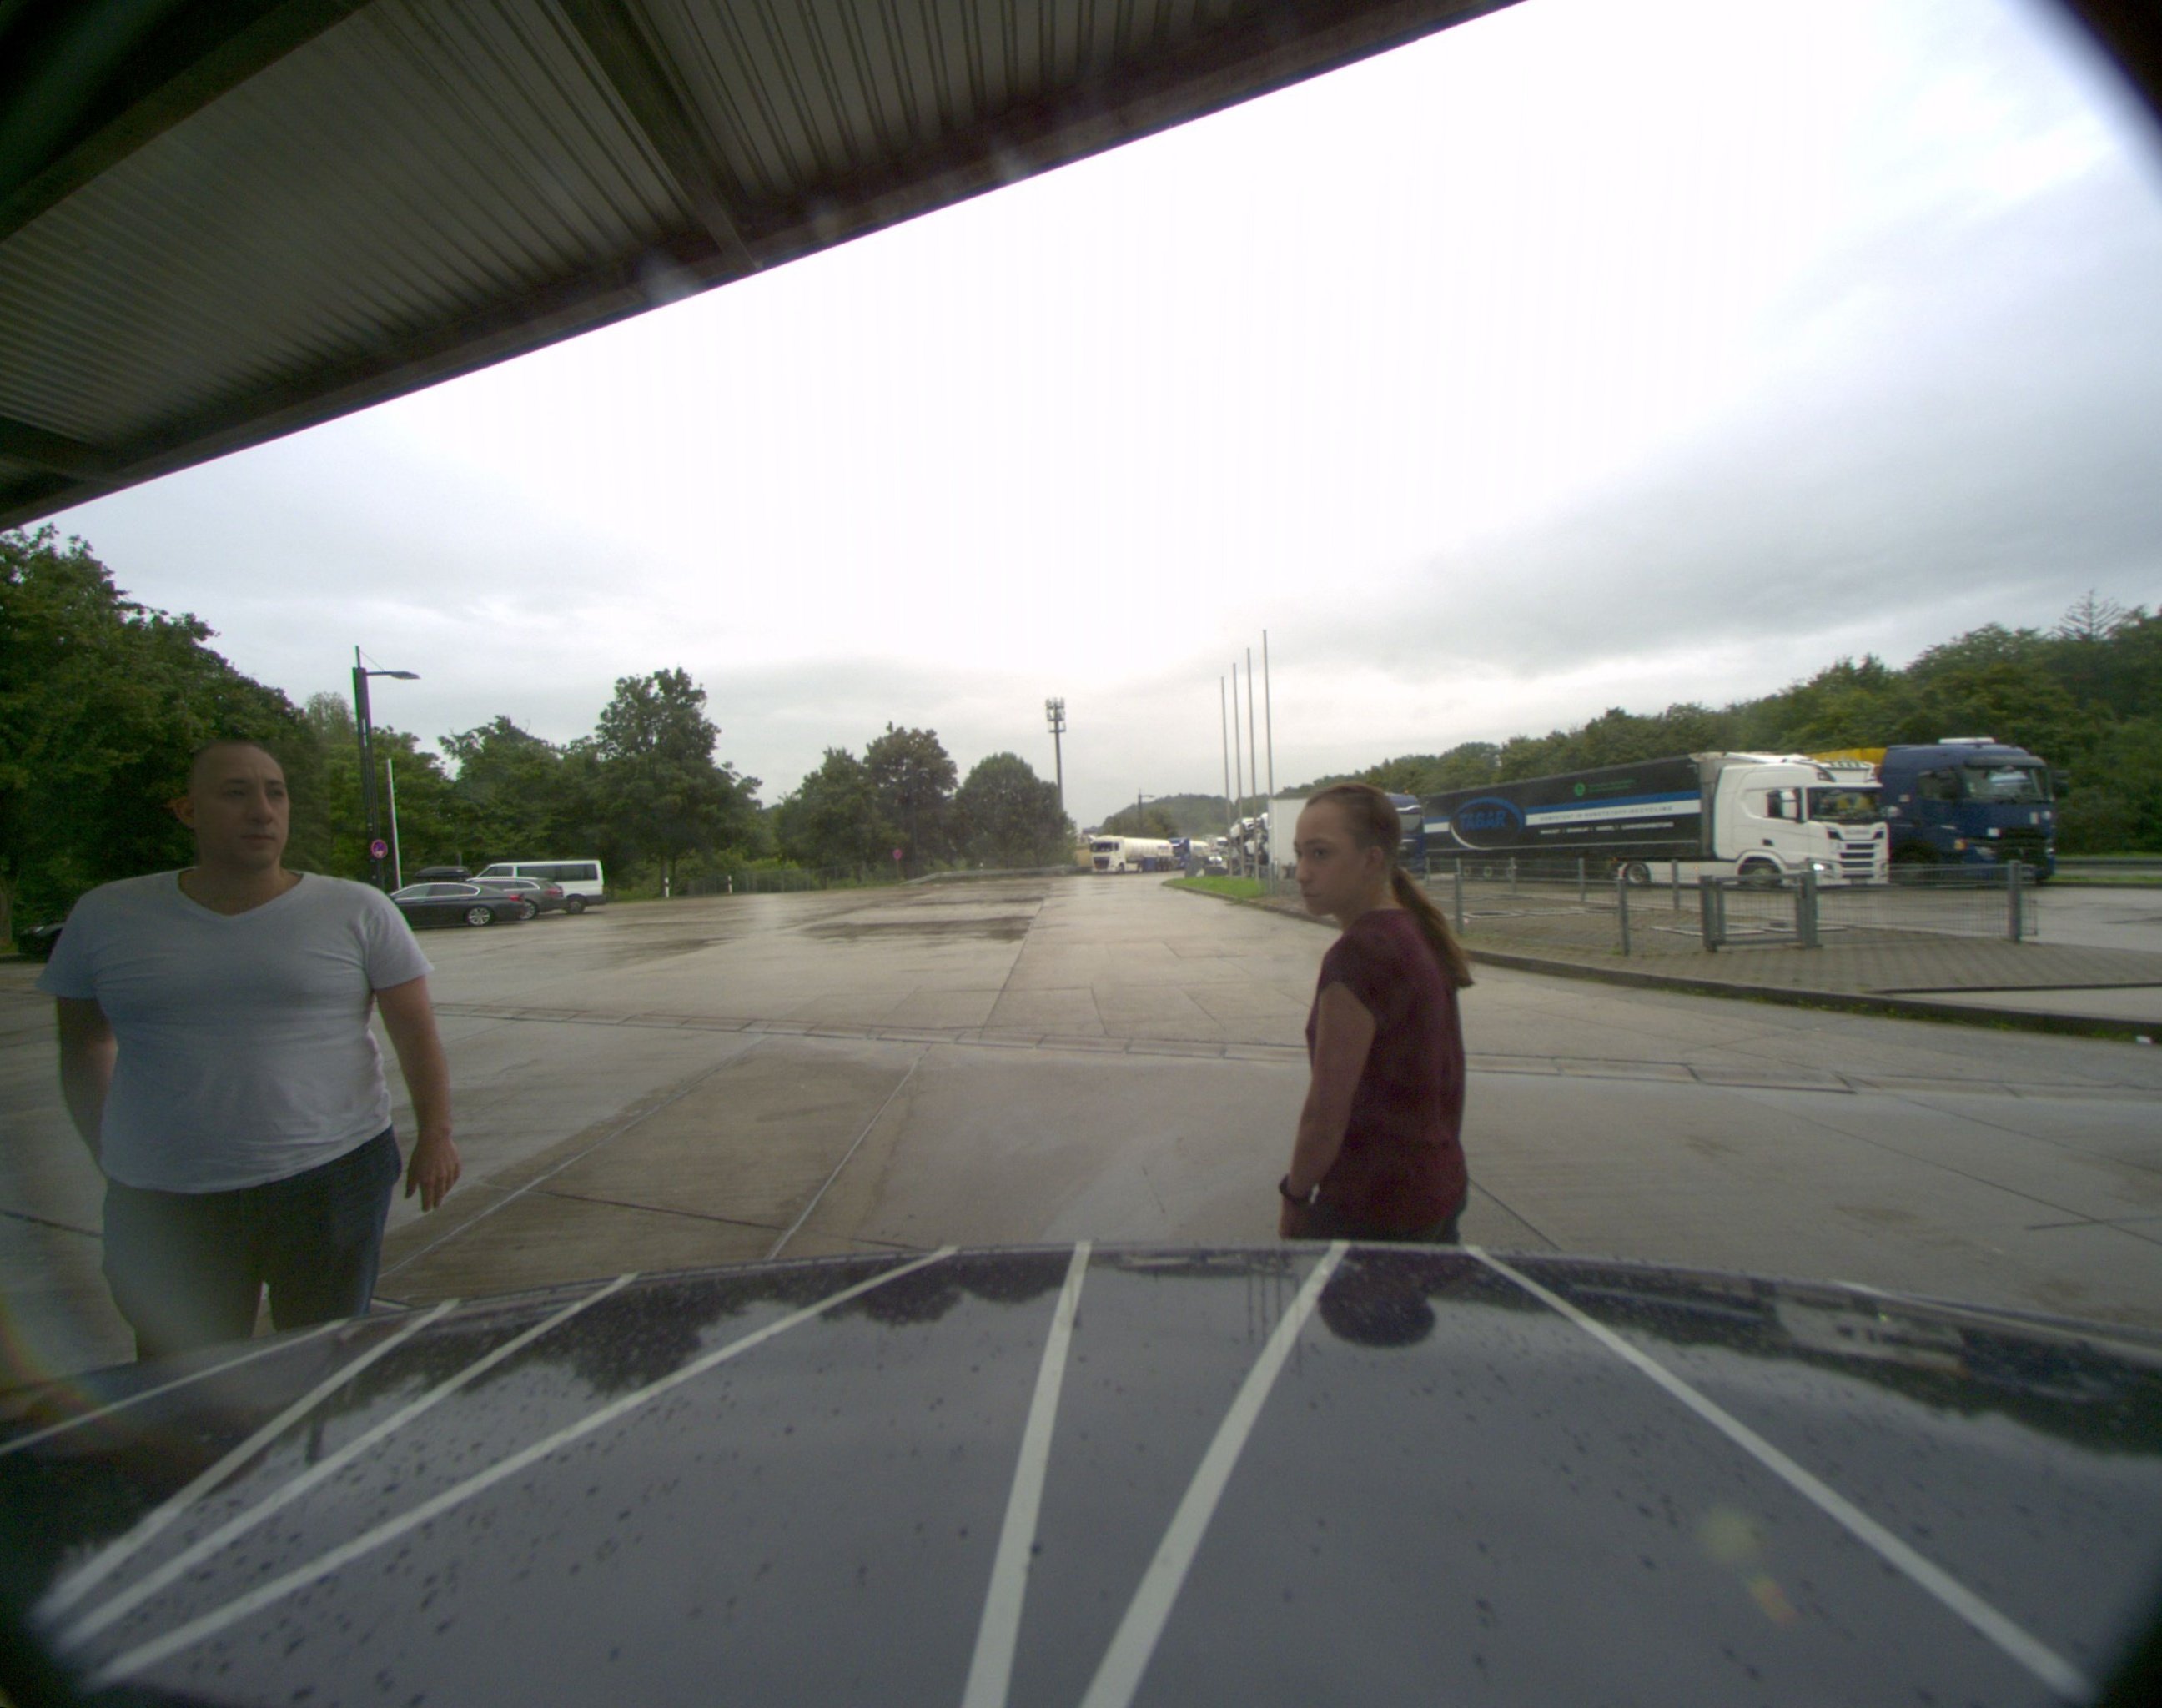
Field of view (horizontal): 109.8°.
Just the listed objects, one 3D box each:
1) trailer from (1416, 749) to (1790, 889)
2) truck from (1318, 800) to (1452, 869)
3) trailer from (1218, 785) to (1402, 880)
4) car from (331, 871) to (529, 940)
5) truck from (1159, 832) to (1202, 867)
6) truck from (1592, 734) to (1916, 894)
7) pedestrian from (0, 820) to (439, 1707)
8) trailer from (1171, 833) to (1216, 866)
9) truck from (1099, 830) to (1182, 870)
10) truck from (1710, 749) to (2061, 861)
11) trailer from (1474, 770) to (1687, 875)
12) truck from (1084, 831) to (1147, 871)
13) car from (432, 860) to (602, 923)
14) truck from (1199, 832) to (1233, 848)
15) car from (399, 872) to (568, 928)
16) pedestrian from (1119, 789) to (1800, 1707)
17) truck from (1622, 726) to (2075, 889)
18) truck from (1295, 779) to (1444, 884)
[{"bbox_3d":[18.399,-1.085,29.100,2.991,4.009,13.795,-2,1,-10],"label":"trailer"},{"bbox_3d":[19.748,-1.215,50.429,2.991,4.009,10.464,-2,1,-10],"label":"truck"},{"bbox_3d":[11.364,-0.996,40.935,2.990,4.009,16.597,-2,1,-7],"label":"trailer"},{"bbox_3d":[-19.121,1.449,22.620,4.187,1.720,1.995,-2,0,-33],"label":"car"},{"bbox_3d":[11.317,-0.520,85.730,3.045,3.745,6.475,-2,1,23],"label":"truck"},{"bbox_3d":[19.517,-1.056,22.734,2.992,4.009,6.734,-2,1,-12],"label":"truck"},{"bbox_3d":[-1.810,0.846,1.534,0.635,1.800,0.493,-4,3,-34],"label":"pedestrian"},{"bbox_3d":[13.657,-0.647,91.438,2.898,3.618,10.586,-2,1,22],"label":"trailer"},{"bbox_3d":[6.189,-0.519,76.346,3.243,3.544,11.995,-2,1,31],"label":"truck"},{"bbox_3d":[33.763,-1.842,32.929,2.991,4.009,10.464,-2,1,-10],"label":"truck"},{"bbox_3d":[21.774,-1.270,33.988,2.774,4.009,8.853,-2,1,-8],"label":"trailer"},{"bbox_3d":[3.305,-0.353,71.434,3.243,3.544,6.114,-2,1,31],"label":"truck"},{"bbox_3d":[-20.440,1.289,27.769,4.780,1.974,2.010,-2,0,-36],"label":"car"},{"bbox_3d":[32.573,-3.264,184.588,3.251,3.543,16.548,-2,1,-7],"label":"truck"},{"bbox_3d":[-19.663,1.453,25.278,4.187,1.547,1.995,-2,0,-33],"label":"car"},{"bbox_3d":[0.508,0.786,1.376,0.796,1.724,0.839,-1,1,-1],"label":"pedestrian"},{"bbox_3d":[23.051,-1.209,24.305,2.774,4.009,10.632,-2,1,-8],"label":"truck"},{"bbox_3d":[12.293,-0.919,33.244,2.990,4.009,7.259,-2,1,-7],"label":"truck"}]
